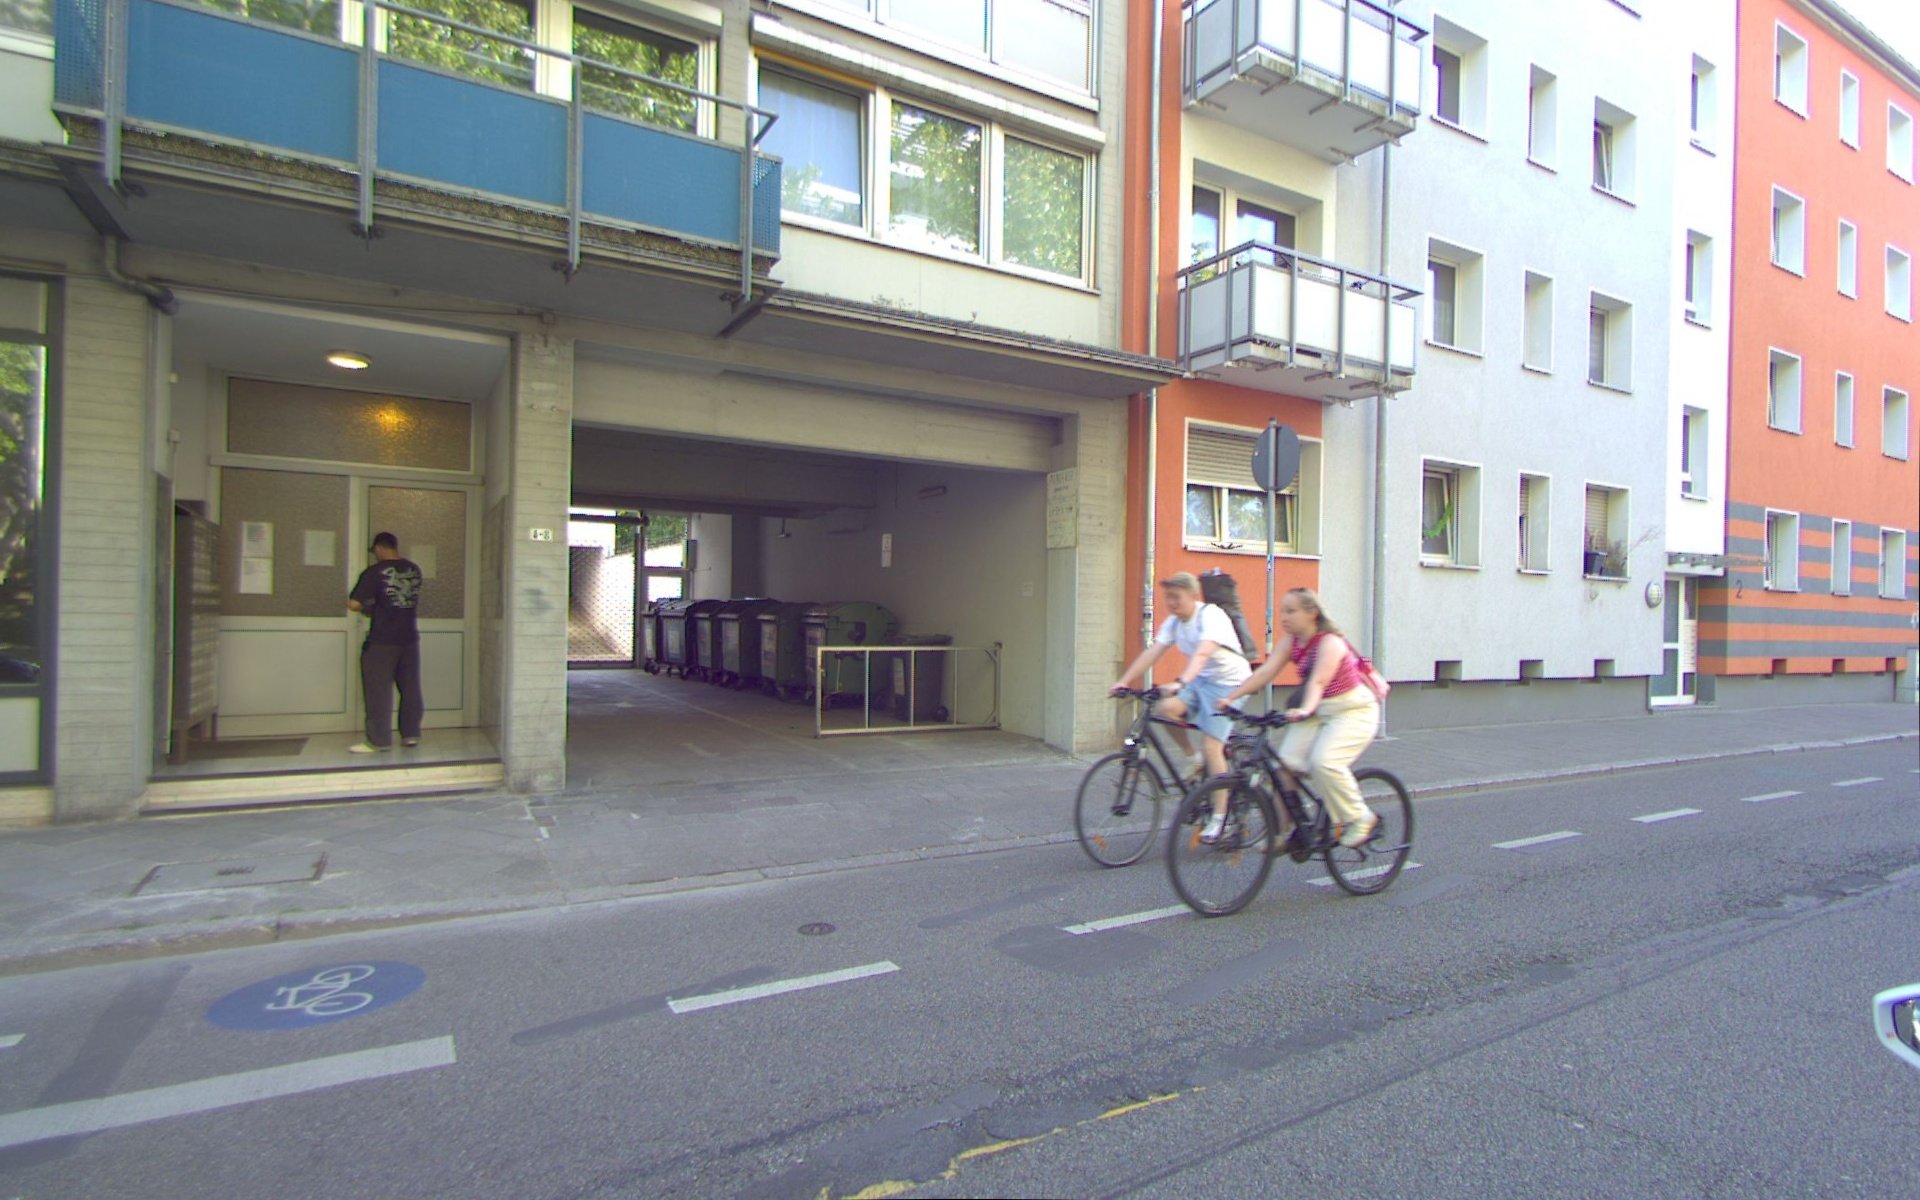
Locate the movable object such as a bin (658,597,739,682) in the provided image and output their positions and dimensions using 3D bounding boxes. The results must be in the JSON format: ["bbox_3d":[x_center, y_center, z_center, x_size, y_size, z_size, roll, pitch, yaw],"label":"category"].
[{"bbox_3d":[-4.863,0.713,18.653,1.167,1.503,1.215,1,0,-30],"label":"movable object such as a bin"}]

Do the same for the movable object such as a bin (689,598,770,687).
[{"bbox_3d":[-4.054,0.724,17.628,1.080,1.503,1.159,1,0,-30],"label":"movable object such as a bin"}]

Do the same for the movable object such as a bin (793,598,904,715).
[{"bbox_3d":[-1.542,0.742,13.769,1.086,1.503,1.251,1,0,-30],"label":"movable object such as a bin"}]

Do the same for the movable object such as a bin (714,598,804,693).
[{"bbox_3d":[-3.334,0.726,16.622,1.167,1.503,1.073,1,0,-30],"label":"movable object such as a bin"}]

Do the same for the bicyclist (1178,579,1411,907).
[{"bbox_3d":[1.783,0.706,5.399,0.968,1.599,0.683,1,0,-23],"label":"bicyclist"}]

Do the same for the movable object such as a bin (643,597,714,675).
[{"bbox_3d":[-5.591,0.709,19.959,1.167,1.503,0.819,1,0,-30],"label":"movable object such as a bin"}]

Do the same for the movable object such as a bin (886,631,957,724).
[{"bbox_3d":[-0.483,0.944,12.470,0.687,1.094,0.579,1,0,-30],"label":"movable object such as a bin"}]

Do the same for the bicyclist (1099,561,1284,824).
[{"bbox_3d":[1.504,0.565,6.603,0.828,1.575,0.839,1,0,-27],"label":"bicyclist"}]

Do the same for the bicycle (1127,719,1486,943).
[{"bbox_3d":[1.879,1.175,5.431,1.836,0.941,0.692,1,0,-23],"label":"bicycle"}]

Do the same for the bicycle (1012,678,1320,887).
[{"bbox_3d":[1.338,1.098,6.499,1.813,1.093,0.860,1,0,-27],"label":"bicycle"}]

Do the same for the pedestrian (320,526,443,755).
[{"bbox_3d":[-4.580,0.312,7.986,0.537,1.736,0.662,1,0,3],"label":"pedestrian"}]

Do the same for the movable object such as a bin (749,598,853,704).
[{"bbox_3d":[-2.418,0.733,15.147,1.167,1.503,1.252,1,0,-30],"label":"movable object such as a bin"}]
